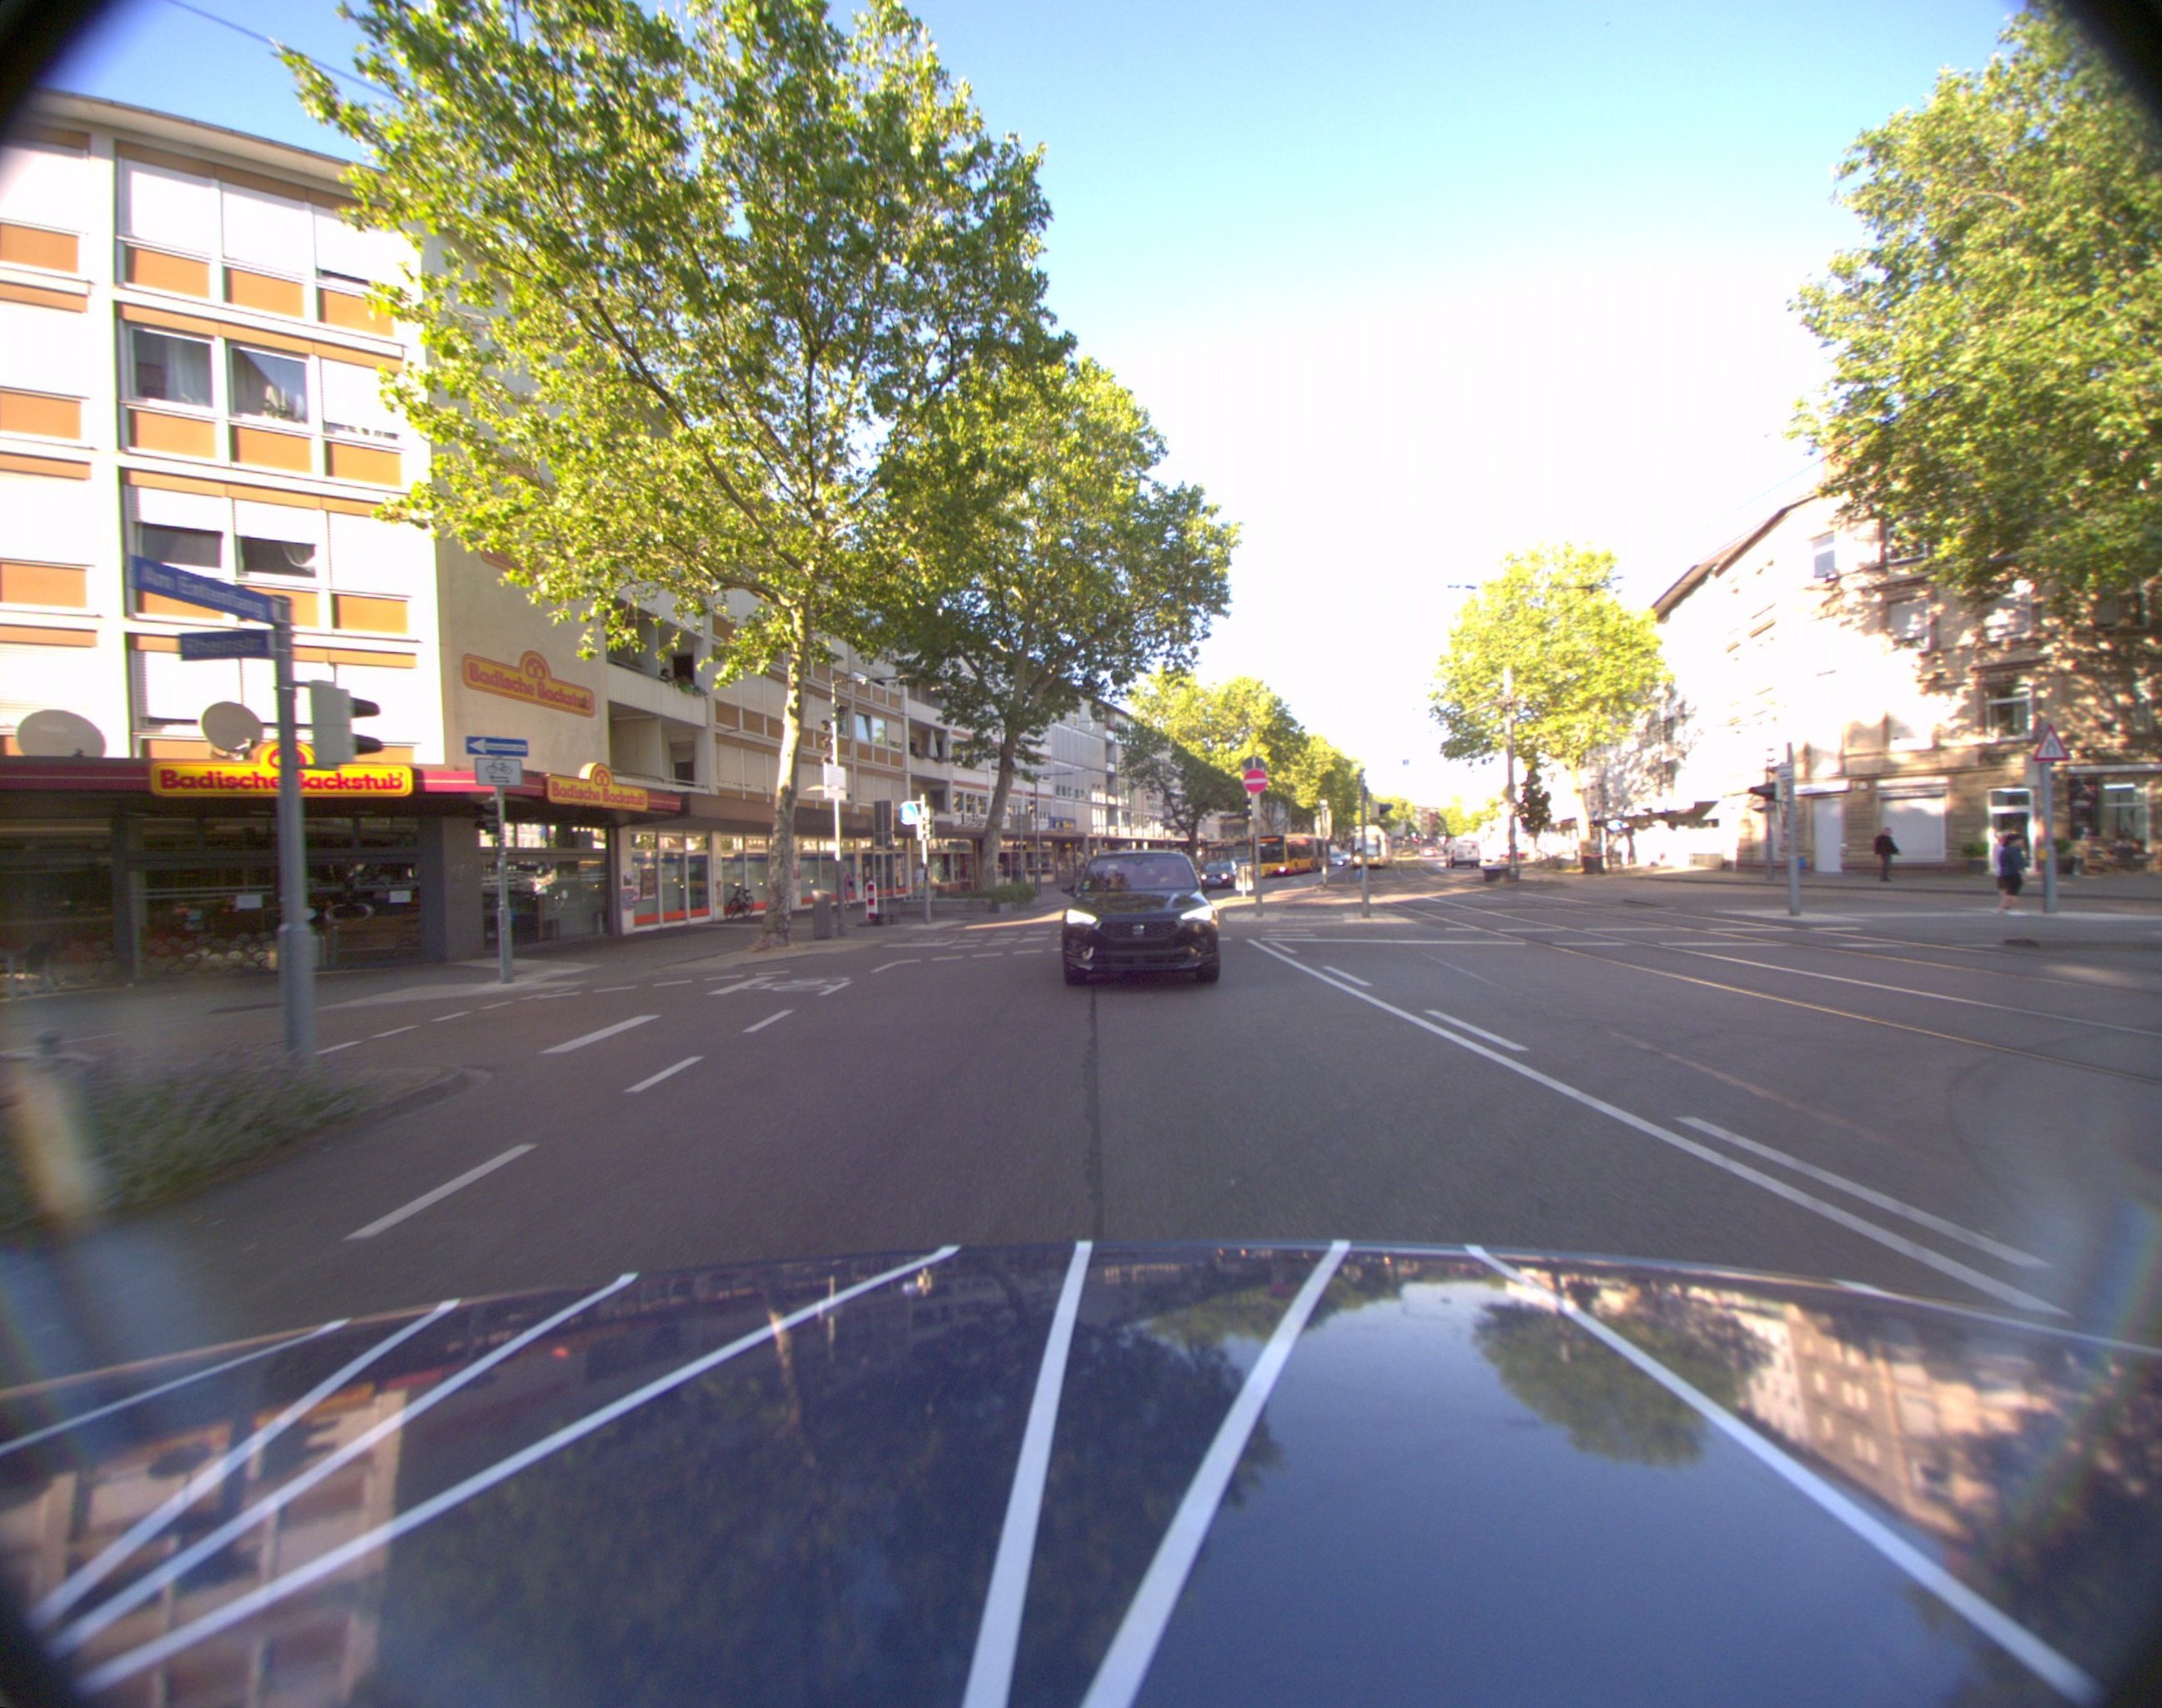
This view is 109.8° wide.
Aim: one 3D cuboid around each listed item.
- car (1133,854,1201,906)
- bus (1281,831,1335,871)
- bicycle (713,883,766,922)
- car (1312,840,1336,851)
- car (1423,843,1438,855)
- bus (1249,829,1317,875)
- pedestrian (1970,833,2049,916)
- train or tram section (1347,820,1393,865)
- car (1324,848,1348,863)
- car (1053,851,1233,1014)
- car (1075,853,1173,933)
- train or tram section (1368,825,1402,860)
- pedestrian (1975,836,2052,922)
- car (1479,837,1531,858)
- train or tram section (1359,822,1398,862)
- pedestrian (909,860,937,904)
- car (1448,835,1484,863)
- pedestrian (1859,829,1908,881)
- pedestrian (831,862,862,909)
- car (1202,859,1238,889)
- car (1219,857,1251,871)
[{"bbox_3d":[3.235,0.884,27.983,1.846,1.648,4.303,-3,0,14],"label":"car"},{"bbox_3d":[19.422,-0.321,64.536,2.748,3.085,9.513,-2,0,26],"label":"bus"},{"bbox_3d":[-10.988,1.546,24.523,0.528,1.136,1.975,-2,0,8],"label":"bicycle"},{"bbox_3d":[46.094,-1.575,144.020,4.002,2.002,1.878,-2,0,-15],"label":"car"},{"bbox_3d":[53.918,-0.775,117.284,1.813,1.766,4.006,-2,0,21],"label":"car"},{"bbox_3d":[15.072,-0.184,56.086,2.748,3.085,9.513,-2,0,28],"label":"bus"},{"bbox_3d":[17.590,0.383,14.407,0.799,1.500,0.800,-2,0,-30],"label":"pedestrian"},{"bbox_3d":[24.711,-0.984,64.577,2.819,3.467,10.355,-2,0,25],"label":"train or tram section"},{"bbox_3d":[27.779,0.112,82.578,1.908,1.467,4.425,-2,1,26],"label":"car"},{"bbox_3d":[0.638,0.846,10.284,1.848,1.648,4.298,-3,0,-1],"label":"car"},{"bbox_3d":[1.216,0.872,19.107,1.847,1.648,4.655,-3,0,10],"label":"car"},{"bbox_3d":[33.457,-1.285,83.377,2.873,3.467,10.355,-2,0,25],"label":"train or tram section"},{"bbox_3d":[16.962,0.439,13.830,0.799,1.500,0.800,-2,0,-35],"label":"pedestrian"},{"bbox_3d":[42.414,-0.632,76.011,4.653,1.965,1.901,-2,0,-18],"label":"car"},{"bbox_3d":[29.077,-1.160,73.991,2.838,3.467,10.355,-2,0,25],"label":"train or tram section"},{"bbox_3d":[-6.406,1.125,30.779,0.749,1.747,0.902,-2,0,11],"label":"pedestrian"},{"bbox_3d":[30.720,-0.401,60.723,2.163,2.110,4.986,-1,0,23],"label":"car"},{"bbox_3d":[27.684,0.024,26.221,0.797,1.745,0.801,-2,0,-7],"label":"pedestrian"},{"bbox_3d":[-9.003,1.214,29.163,0.749,1.747,0.902,-2,0,11],"label":"pedestrian"},{"bbox_3d":[7.174,1.001,39.416,1.651,1.463,3.711,-2,-1,8],"label":"car"},{"bbox_3d":[14.336,0.931,70.864,2.630,1.209,1.199,-2,1,-13],"label":"car"}]
